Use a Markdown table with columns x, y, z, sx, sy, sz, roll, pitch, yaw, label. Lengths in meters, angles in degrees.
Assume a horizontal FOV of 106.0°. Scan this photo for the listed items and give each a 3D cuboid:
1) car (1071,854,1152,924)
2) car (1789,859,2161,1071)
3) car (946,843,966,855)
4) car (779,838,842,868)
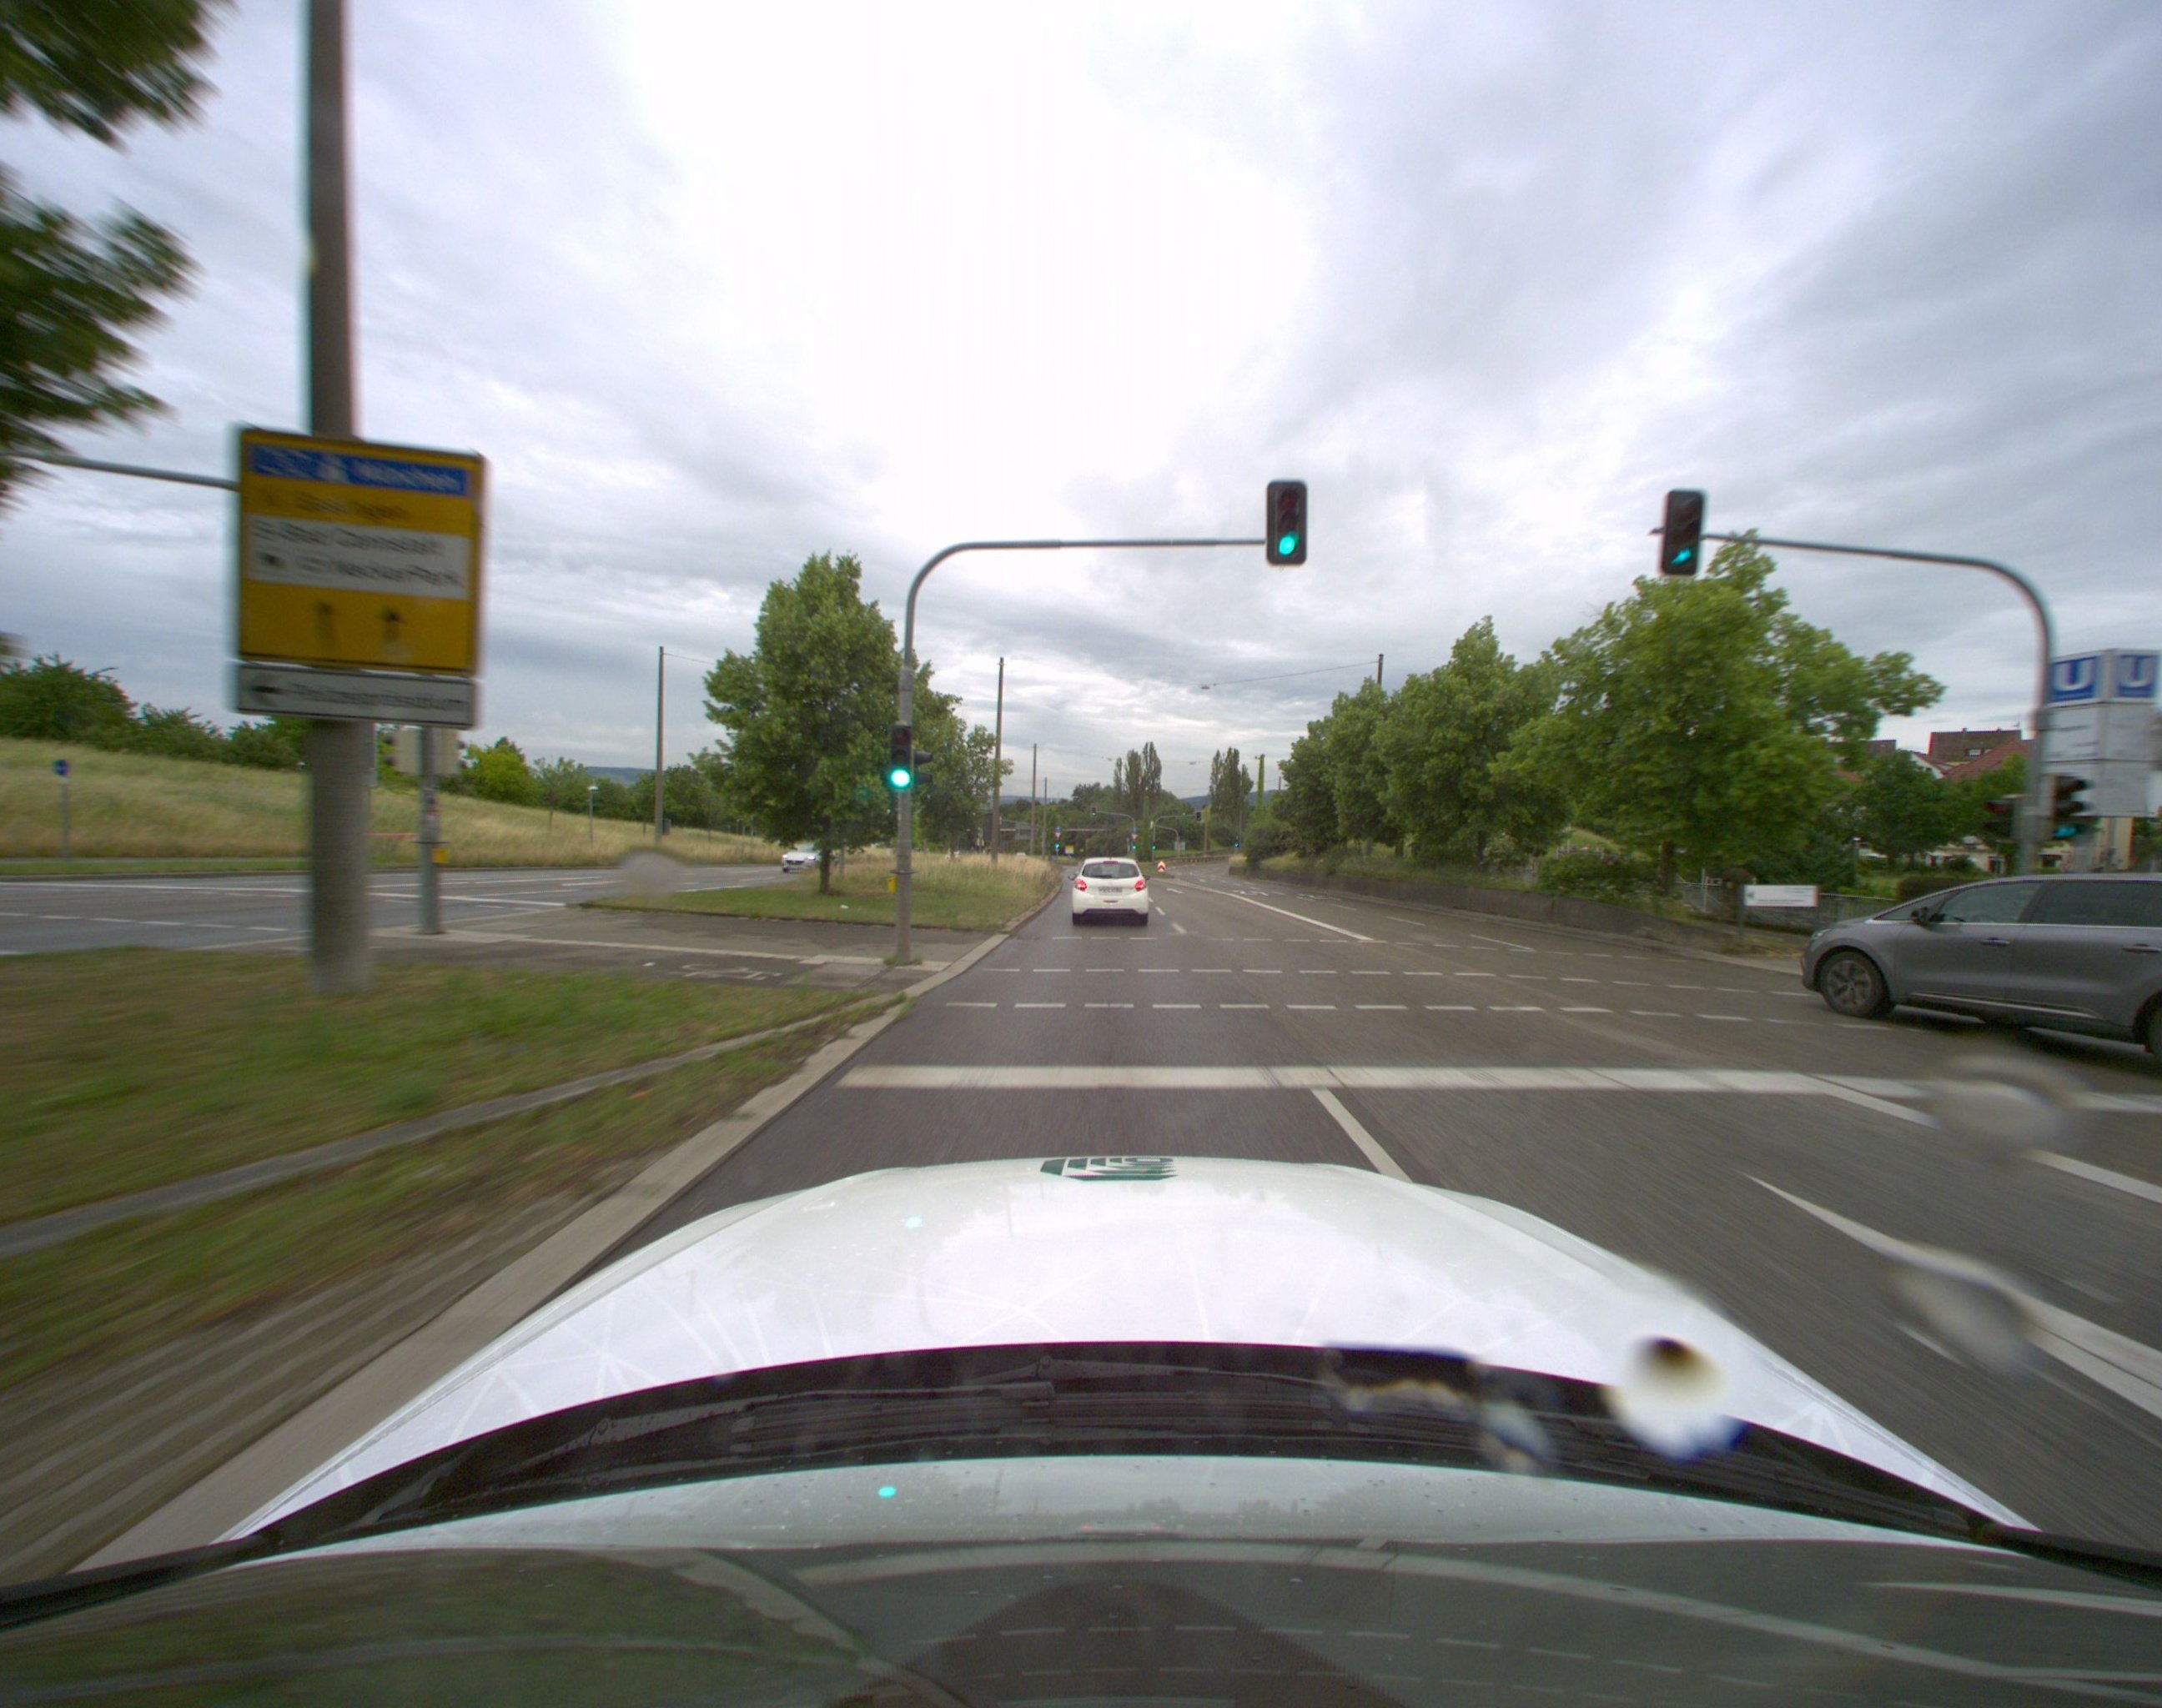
| x | y | z | sx | sy | sz | roll | pitch | yaw | label |
| --- | --- | --- | --- | --- | --- | --- | --- | --- | --- |
| 0.696 | 0.736 | 19.090 | 1.702 | 1.440 | 3.692 | 0 | 1 | 1 | car |
| 9.345 | 0.931 | 7.455 | 1.719 | 1.649 | 4.626 | 4 | 0 | 1 | car |
| -17.425 | -0.680 | 113.502 | 1.878 | 1.611 | 4.678 | 2 | -1 | 2 | car |
| -13.465 | -0.032 | 40.794 | 1.531 | 1.389 | 3.932 | 2 | 0 | 4 | car |
